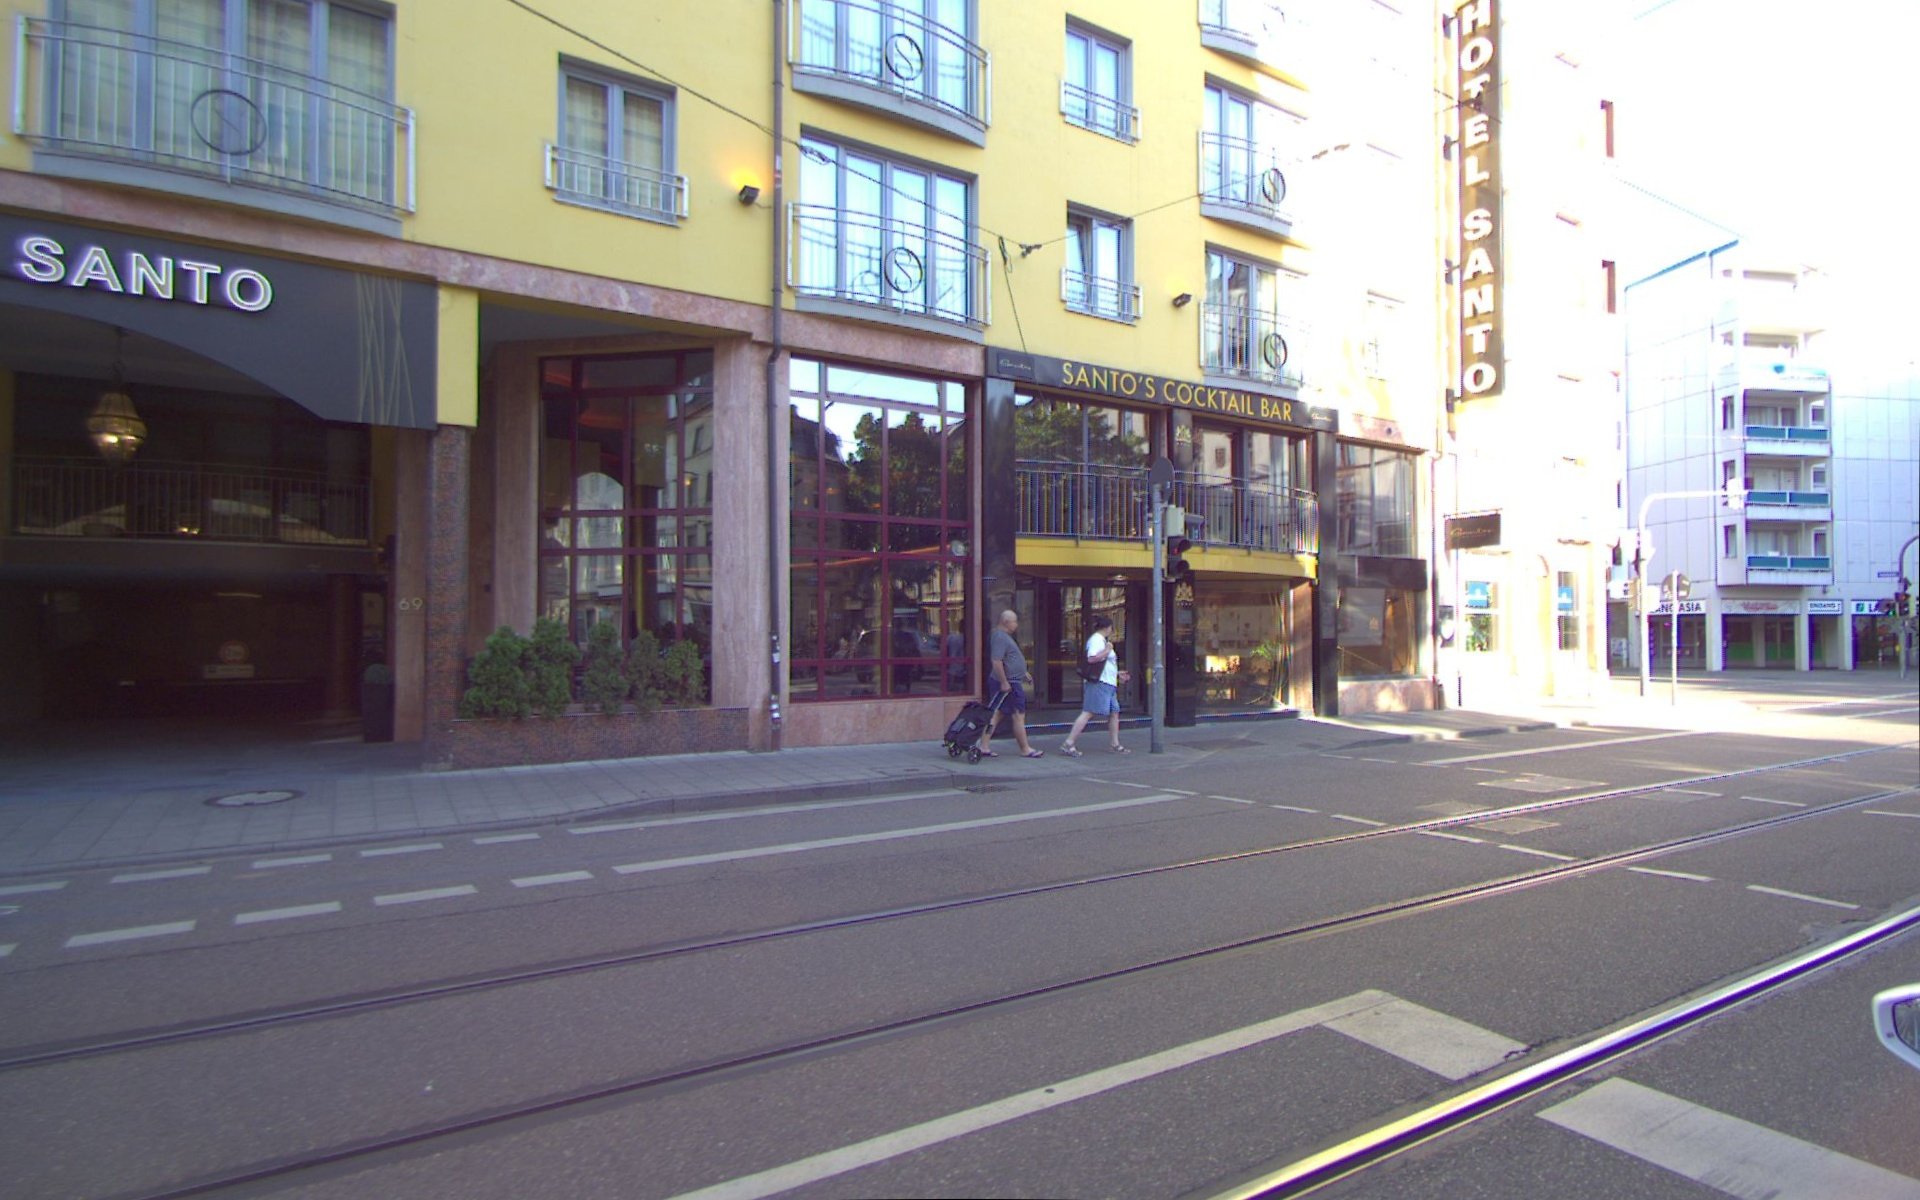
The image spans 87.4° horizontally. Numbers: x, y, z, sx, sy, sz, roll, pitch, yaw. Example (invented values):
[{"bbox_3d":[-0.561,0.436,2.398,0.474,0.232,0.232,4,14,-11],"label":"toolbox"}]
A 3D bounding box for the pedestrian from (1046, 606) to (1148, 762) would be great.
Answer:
[{"bbox_3d":[1.747,1.028,12.807,1.027,1.843,0.752,3,3,31],"label":"pedestrian"}]

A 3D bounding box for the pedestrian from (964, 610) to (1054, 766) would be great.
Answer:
[{"bbox_3d":[0.597,1.038,12.324,0.741,1.795,0.793,0,3,-31],"label":"pedestrian"}]

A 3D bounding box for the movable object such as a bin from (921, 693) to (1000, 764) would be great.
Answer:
[{"bbox_3d":[0.010,1.490,11.736,0.831,0.726,0.381,1,3,-31],"label":"movable object such as a bin"}]
